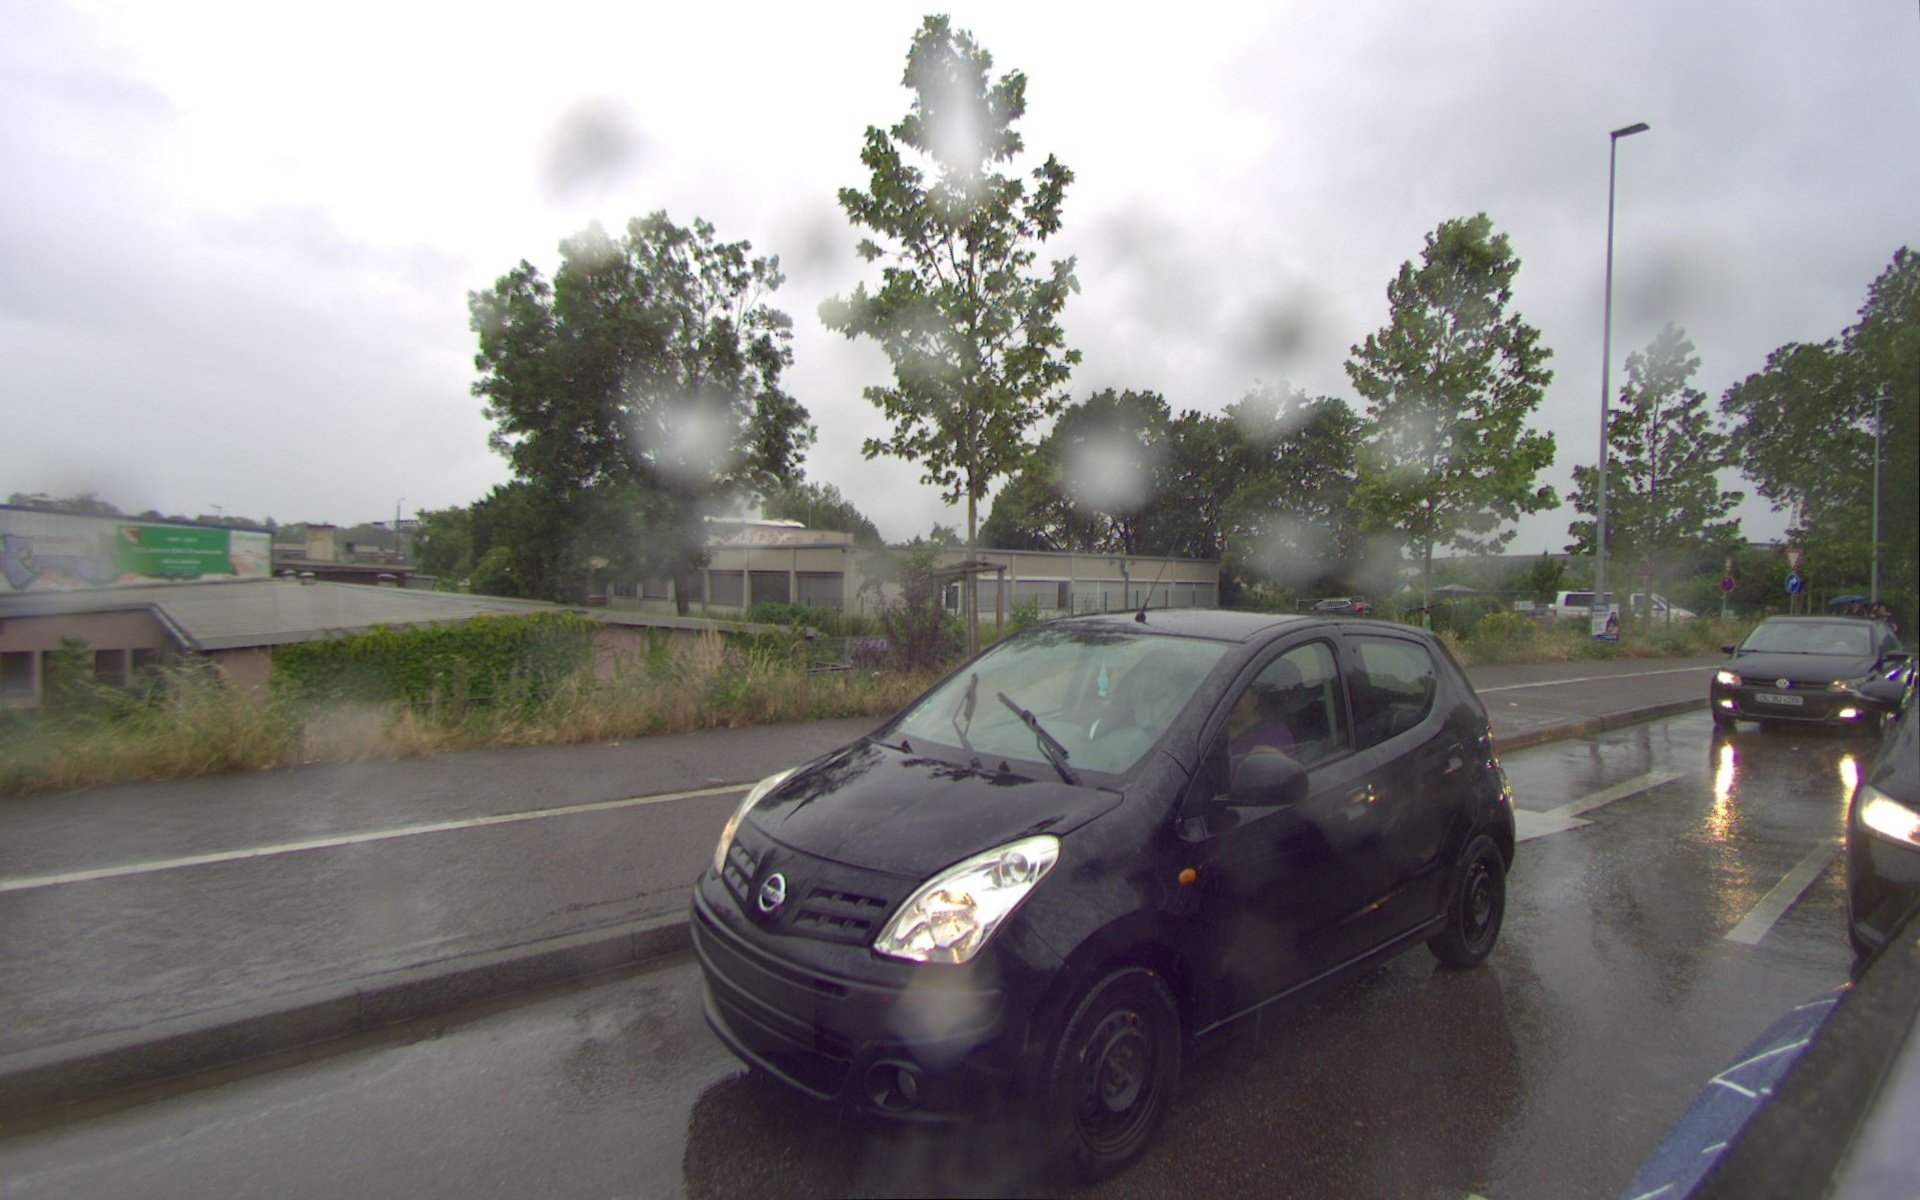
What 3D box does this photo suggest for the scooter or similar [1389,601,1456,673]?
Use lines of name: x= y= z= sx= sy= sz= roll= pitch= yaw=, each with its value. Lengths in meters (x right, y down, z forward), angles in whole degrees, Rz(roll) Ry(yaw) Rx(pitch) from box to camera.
scooter or similar: x=7.901 y=0.606 z=17.250 sx=1.747 sy=1.144 sz=0.380 roll=-1 pitch=2 yaw=-43

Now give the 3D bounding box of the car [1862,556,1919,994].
car: x=5.511 y=0.625 z=4.534 sx=4.091 sy=1.607 sz=1.688 roll=-1 pitch=0 yaw=-41

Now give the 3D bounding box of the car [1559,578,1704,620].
car: x=28.106 y=-0.065 z=42.450 sx=1.966 sy=1.670 sz=4.752 roll=-1 pitch=1 yaw=-42

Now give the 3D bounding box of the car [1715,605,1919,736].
car: x=11.135 y=0.792 z=13.010 sx=3.561 sy=1.447 sz=1.631 roll=0 pitch=0 yaw=-42

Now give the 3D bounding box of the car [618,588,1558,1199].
car: x=0.759 y=0.706 z=3.852 sx=3.561 sy=1.447 sz=1.631 roll=0 pitch=0 yaw=-42

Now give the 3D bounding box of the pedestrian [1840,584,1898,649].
pedestrian: x=26.022 y=0.457 z=28.979 sx=0.953 sy=1.777 sz=1.081 roll=0 pitch=2 yaw=-42

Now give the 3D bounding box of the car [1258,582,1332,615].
car: x=20.996 y=-0.103 z=63.479 sx=1.964 sy=2.039 sz=3.996 roll=0 pitch=0 yaw=-38

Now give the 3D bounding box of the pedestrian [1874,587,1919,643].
pedestrian: x=30.076 y=0.460 z=32.404 sx=0.876 sy=1.729 sz=1.024 roll=0 pitch=3 yaw=-41

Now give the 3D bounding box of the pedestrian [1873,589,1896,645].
pedestrian: x=28.004 y=0.503 z=30.641 sx=0.433 sy=1.682 sz=0.400 roll=0 pitch=3 yaw=-42
